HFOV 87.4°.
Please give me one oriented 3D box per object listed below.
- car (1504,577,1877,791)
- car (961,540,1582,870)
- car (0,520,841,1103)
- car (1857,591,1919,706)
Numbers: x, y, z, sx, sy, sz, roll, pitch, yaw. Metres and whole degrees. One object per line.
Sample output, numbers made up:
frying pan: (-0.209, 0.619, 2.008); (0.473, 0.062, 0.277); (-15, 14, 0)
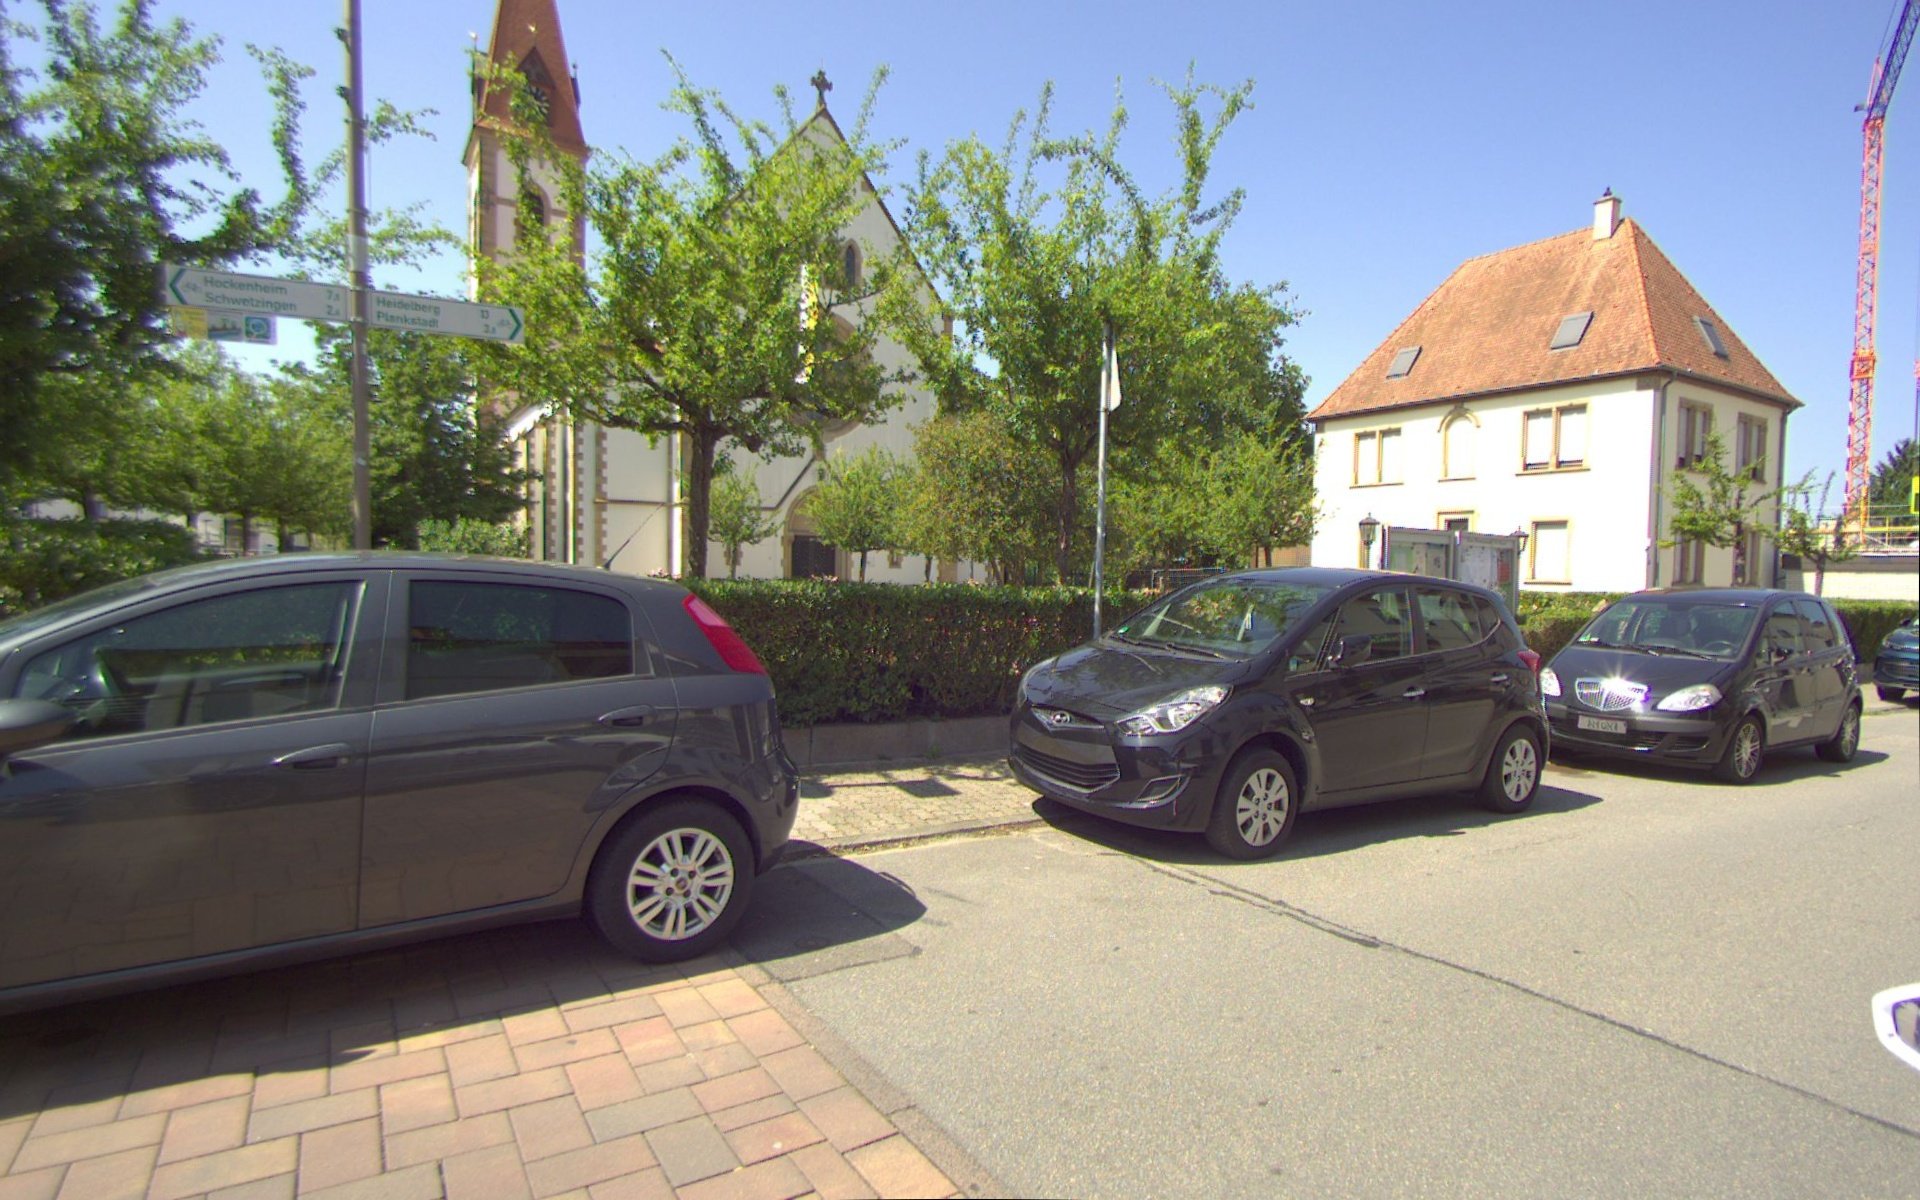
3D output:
car: (6.986, 0.643, 9.526); (3.728, 1.651, 1.628); (0, 2, -33)
car: (2.173, 0.509, 6.762); (3.978, 1.626, 1.805); (0, 2, -32)
car: (-2.517, 0.530, 3.618); (3.820, 1.517, 1.690); (0, 2, -36)
car: (15.837, 0.734, 15.603); (4.172, 1.652, 1.815); (0, 2, -34)
